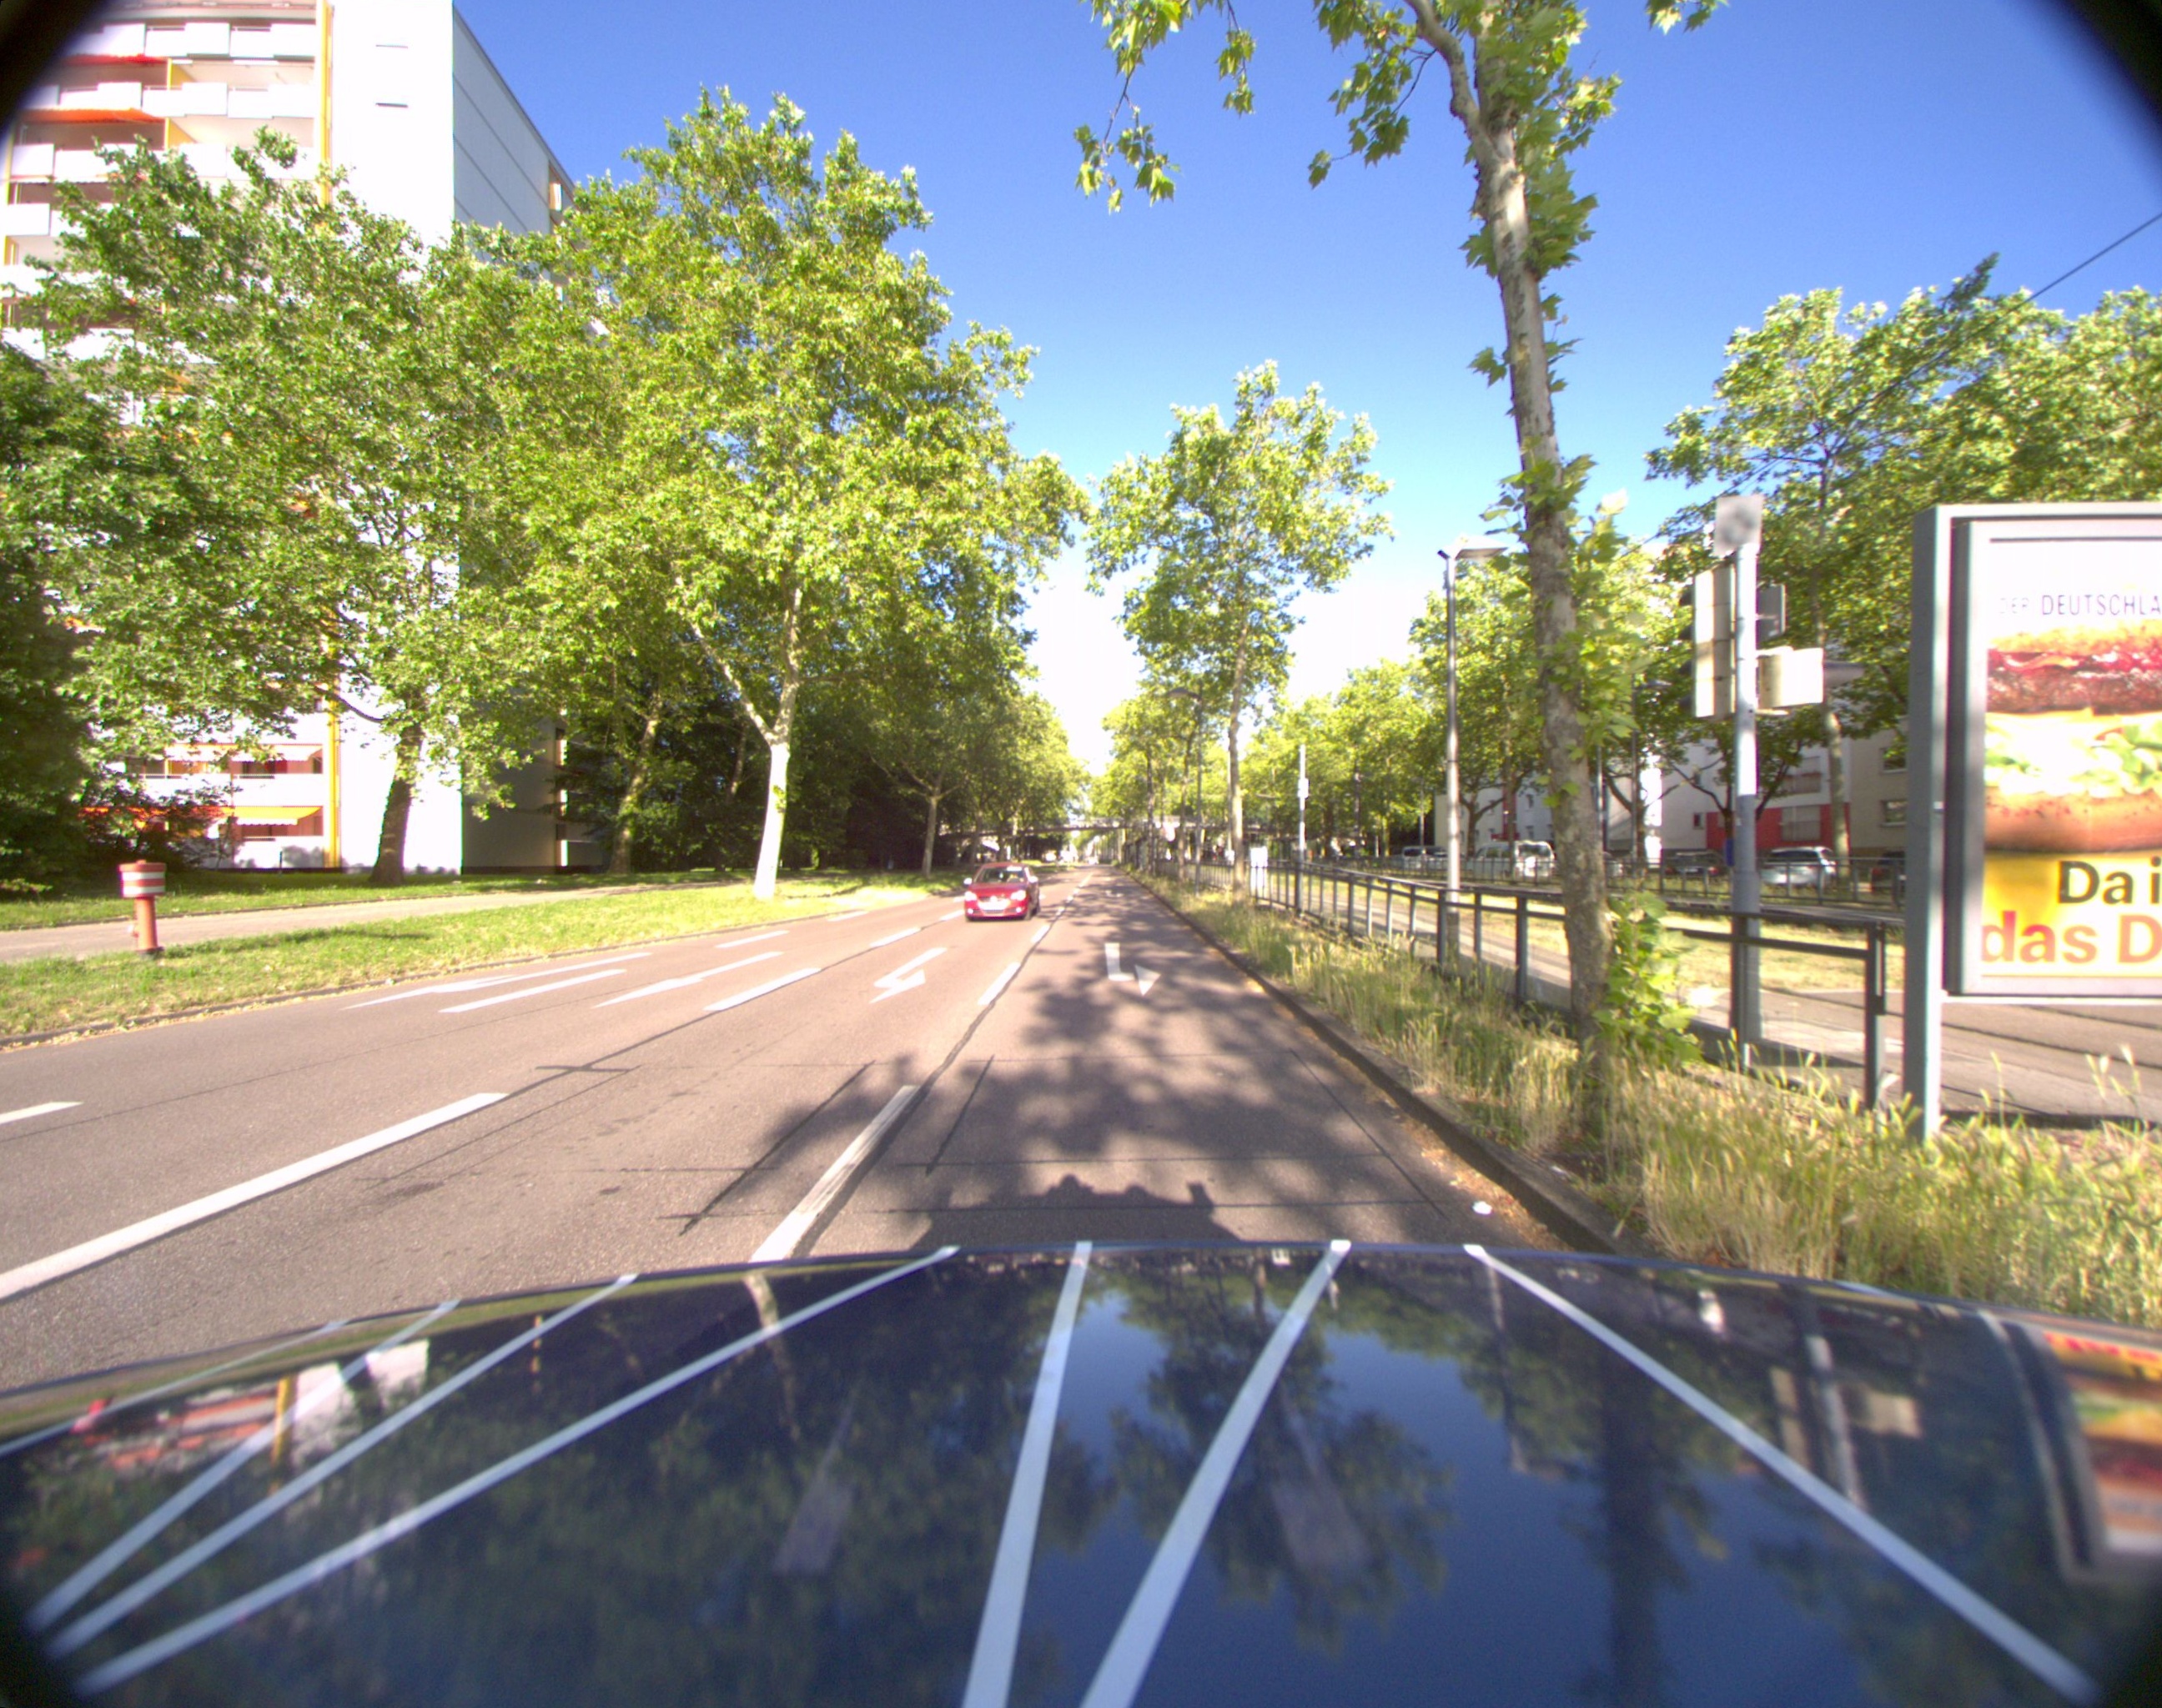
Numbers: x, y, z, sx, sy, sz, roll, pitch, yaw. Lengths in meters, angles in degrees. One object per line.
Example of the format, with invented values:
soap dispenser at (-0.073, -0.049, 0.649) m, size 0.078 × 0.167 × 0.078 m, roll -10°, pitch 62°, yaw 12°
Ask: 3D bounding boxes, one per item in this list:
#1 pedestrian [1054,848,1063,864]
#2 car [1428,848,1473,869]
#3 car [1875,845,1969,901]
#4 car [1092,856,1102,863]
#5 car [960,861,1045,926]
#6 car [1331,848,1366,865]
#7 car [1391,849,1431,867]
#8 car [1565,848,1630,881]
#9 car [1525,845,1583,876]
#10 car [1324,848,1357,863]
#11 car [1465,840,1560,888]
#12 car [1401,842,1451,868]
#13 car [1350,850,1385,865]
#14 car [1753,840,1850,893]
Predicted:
pedestrian at (-3.033, 0.255, 102.745) m, size 0.918 × 2.002 × 0.963 m, roll -2°, pitch 1°, yaw 16°
car at (26.113, 0.336, 53.711) m, size 3.494 × 1.395 × 1.623 m, roll -1°, pitch 0°, yaw -41°
car at (25.319, 0.534, 22.840) m, size 3.770 × 1.420 × 1.555 m, roll -3°, pitch 1°, yaw -37°
car at (3.366, 1.157, 158.378) m, size 1.798 × 1.465 × 3.999 m, roll -3°, pitch 1°, yaw -1°
car at (-1.974, 0.971, 20.102) m, size 1.646 × 1.430 × 3.761 m, roll -2°, pitch 1°, yaw 2°
car at (25.828, 0.189, 73.297) m, size 3.835 × 1.561 × 1.597 m, roll -1°, pitch 0°, yaw -43°
car at (26.029, 0.326, 59.886) m, size 3.494 × 1.336 × 1.476 m, roll -1°, pitch 0°, yaw -41°
car at (25.514, 0.493, 37.482) m, size 3.890 × 1.406 × 1.486 m, roll -3°, pitch 1°, yaw -37°
car at (25.474, 0.357, 40.890) m, size 3.402 × 1.499 × 1.461 m, roll -3°, pitch 1°, yaw -37°
car at (27.078, 0.185, 79.254) m, size 3.742 × 1.517 × 1.597 m, roll -1°, pitch 1°, yaw -43°
car at (19.263, 0.411, 34.187) m, size 1.795 × 1.980 × 4.653 m, roll -1°, pitch 0°, yaw 3°
car at (25.786, 0.055, 56.815) m, size 4.056 × 1.802 × 1.864 m, roll -1°, pitch 0°, yaw -41°
car at (26.254, 0.344, 69.589) m, size 3.494 × 1.312 × 1.476 m, roll -1°, pitch 0°, yaw -41°
car at (25.227, 0.406, 26.577) m, size 4.007 × 1.586 × 1.810 m, roll -3°, pitch 1°, yaw -37°
